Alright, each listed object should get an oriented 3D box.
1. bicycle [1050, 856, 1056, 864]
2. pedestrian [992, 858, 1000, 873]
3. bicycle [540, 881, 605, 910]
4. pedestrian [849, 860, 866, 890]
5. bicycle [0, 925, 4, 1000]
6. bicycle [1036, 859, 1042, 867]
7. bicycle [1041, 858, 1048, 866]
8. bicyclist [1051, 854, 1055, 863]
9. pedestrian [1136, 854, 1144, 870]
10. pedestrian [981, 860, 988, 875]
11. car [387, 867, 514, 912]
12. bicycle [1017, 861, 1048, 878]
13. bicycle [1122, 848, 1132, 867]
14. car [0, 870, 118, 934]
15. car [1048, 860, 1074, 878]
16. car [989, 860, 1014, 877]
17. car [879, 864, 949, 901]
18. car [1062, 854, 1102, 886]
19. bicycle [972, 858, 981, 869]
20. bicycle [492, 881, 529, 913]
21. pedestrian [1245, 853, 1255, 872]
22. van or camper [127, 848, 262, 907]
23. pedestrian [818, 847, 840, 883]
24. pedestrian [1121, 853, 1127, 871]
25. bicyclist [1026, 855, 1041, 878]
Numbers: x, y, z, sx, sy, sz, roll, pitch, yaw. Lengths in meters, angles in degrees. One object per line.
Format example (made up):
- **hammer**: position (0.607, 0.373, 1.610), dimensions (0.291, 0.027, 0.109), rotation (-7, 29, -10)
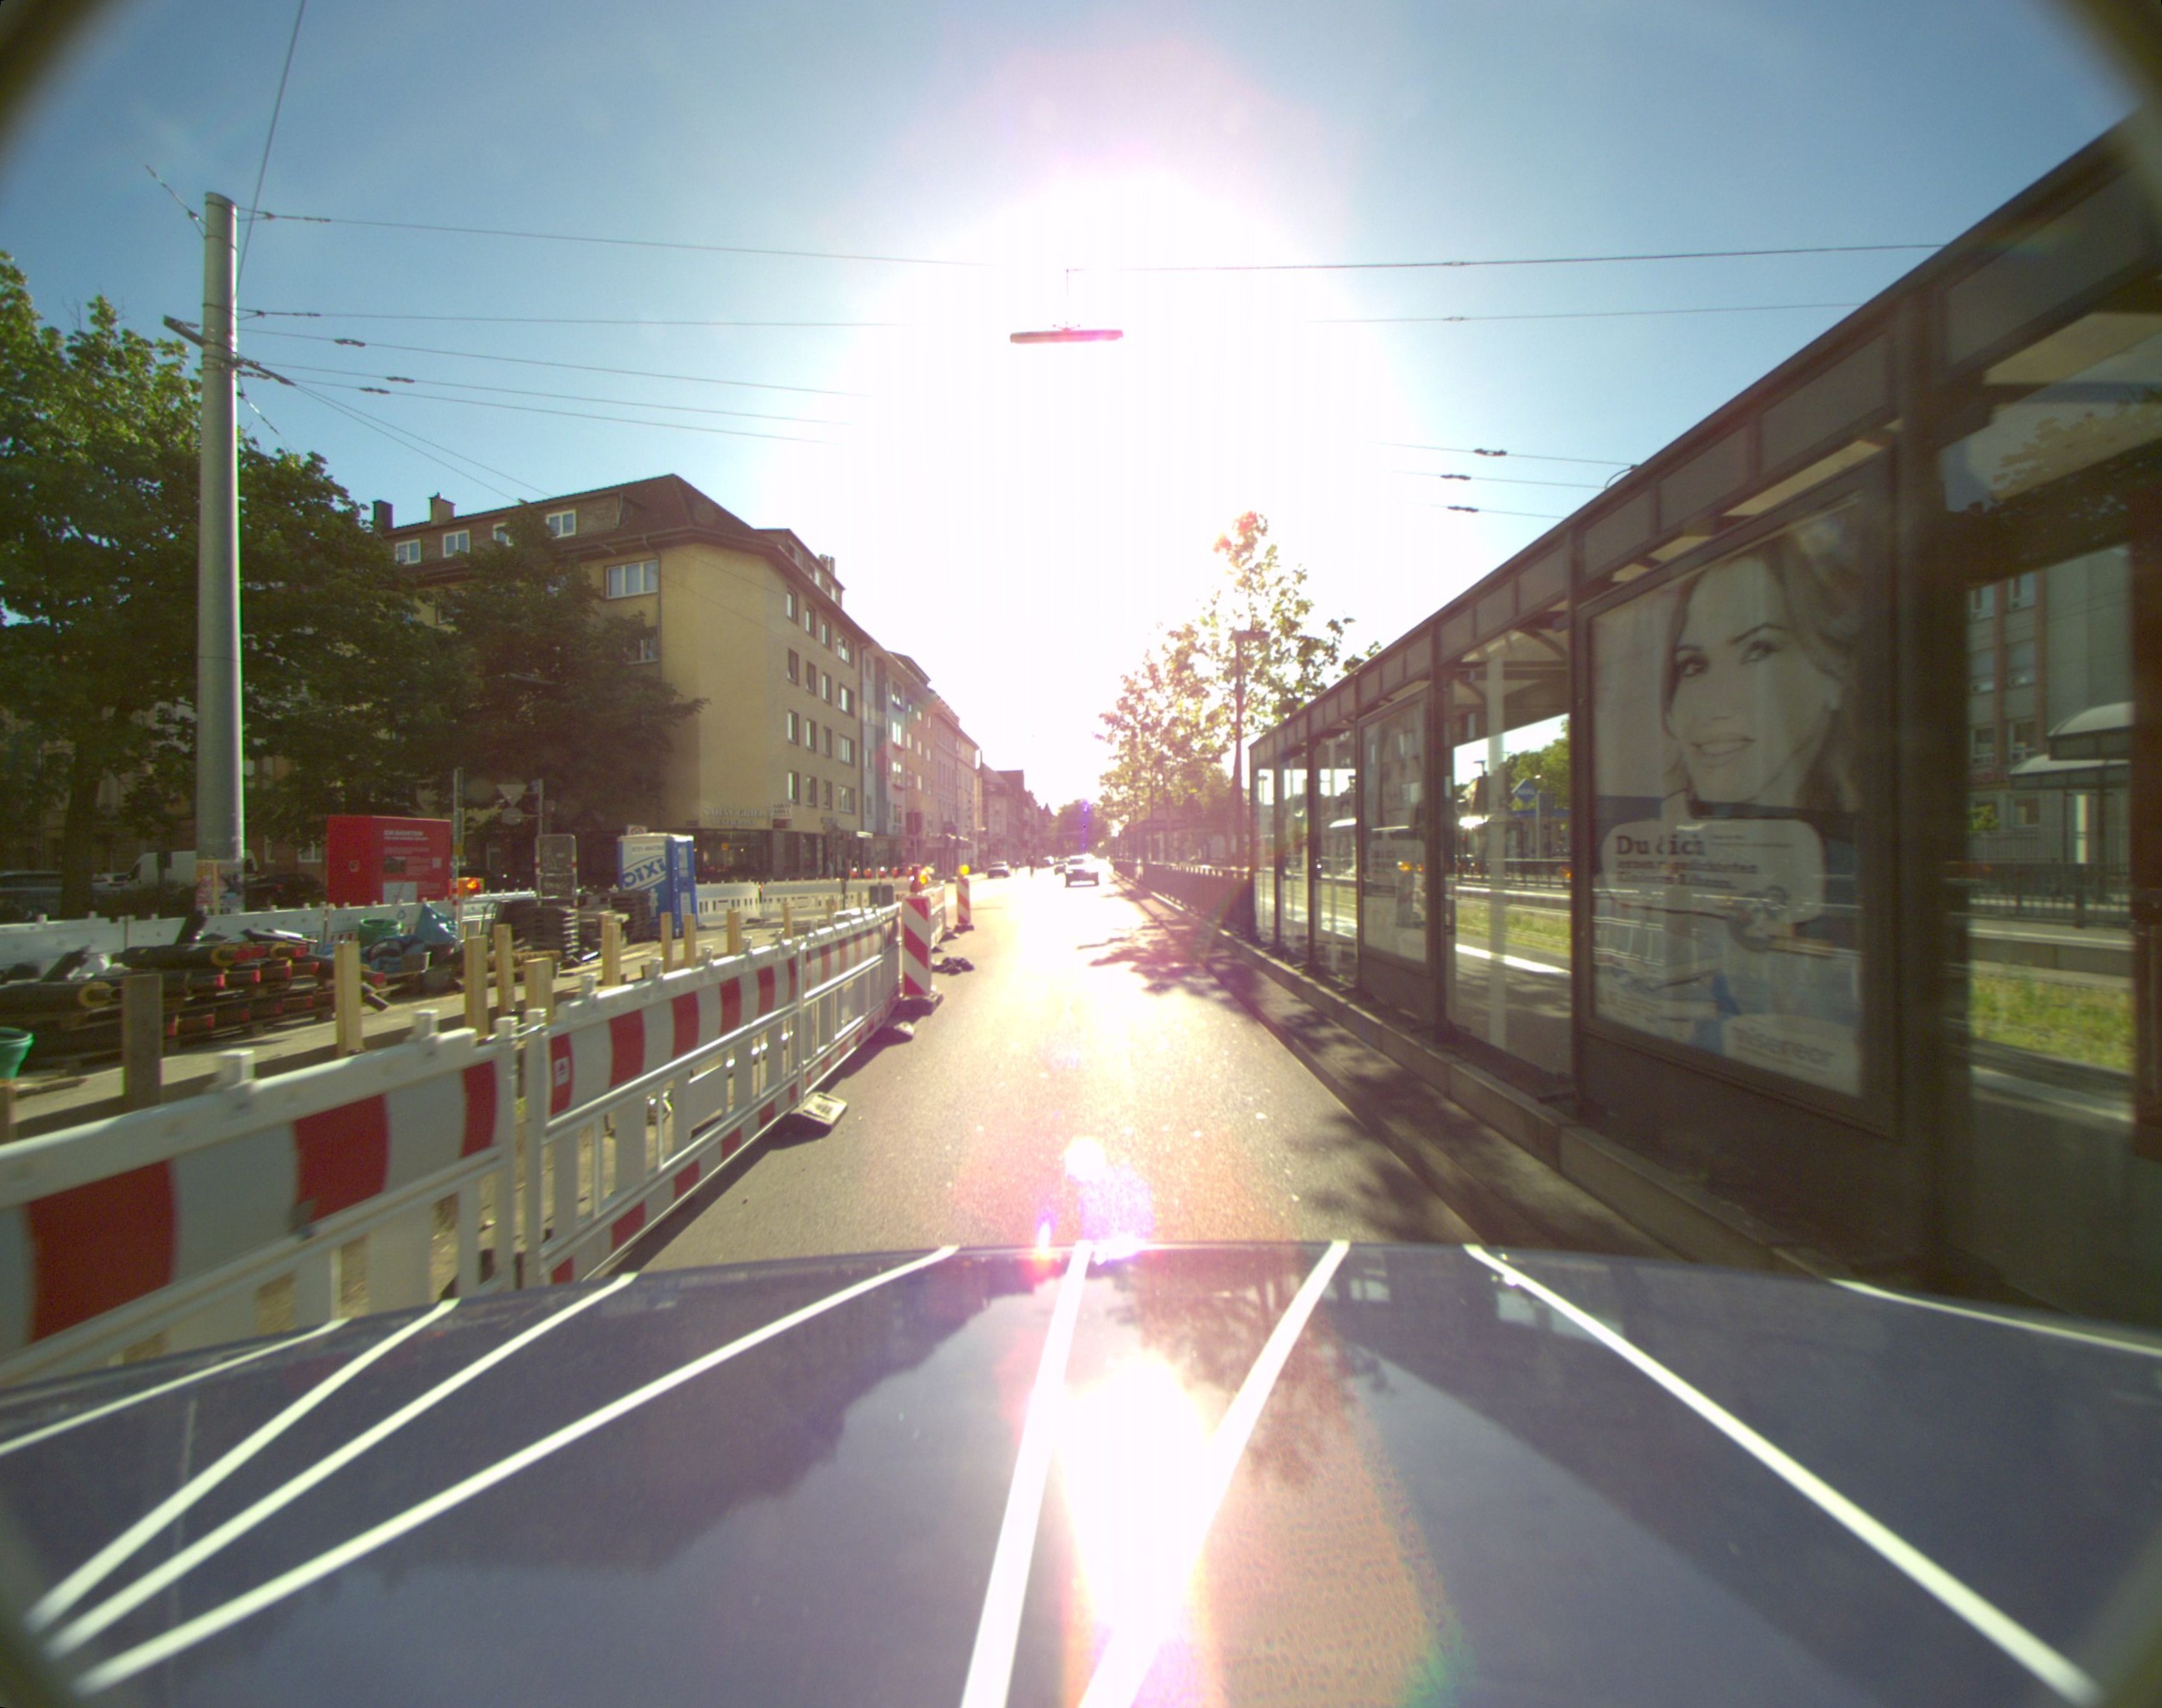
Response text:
- **bicycle**: position (-4.731, 1.003, 128.544), dimensions (0.693, 1.208, 2.299), rotation (-1, 0, 6)
- **pedestrian**: position (-10.061, 1.394, 89.881), dimensions (0.775, 1.680, 0.800), rotation (-2, -2, 0)
- **bicycle**: position (-18.462, 1.494, 27.620), dimensions (0.368, 0.998, 1.947), rotation (-1, 0, 37)
- **pedestrian**: position (-11.539, 1.081, 39.239), dimensions (0.672, 1.498, 0.652), rotation (-1, 1, 1)
- **bicycle**: position (-14.762, 1.393, 9.477), dimensions (2.030, 0.937, 1.019), rotation (-1, 0, 20)
- **bicycle**: position (-7.016, 1.474, 126.525), dimensions (0.693, 1.208, 2.299), rotation (-1, 0, 6)
- **bicycle**: position (-6.055, 1.336, 126.342), dimensions (0.693, 1.208, 2.299), rotation (-1, 0, 6)
- **bicyclist**: position (-4.725, 0.780, 128.440), dimensions (0.696, 1.596, 0.745), rotation (-1, 1, 5)
- **pedestrian**: position (6.312, 0.815, 80.798), dimensions (0.803, 1.680, 1.008), rotation (-1, 1, 4)
- **pedestrian**: position (-11.426, 1.583, 90.140), dimensions (0.663, 1.680, 0.677), rotation (-1, 1, 0)
- **car**: position (-24.485, 1.361, 29.538), dimensions (4.238, 1.632, 2.003), rotation (-1, -1, 22)
- **bicycle**: position (-4.113, 1.305, 64.527), dimensions (2.382, 1.349, 1.021), rotation (-1, 0, -26)
- **bicycle**: position (3.418, 0.274, 56.549), dimensions (0.641, 1.371, 2.170), rotation (-1, 0, 2)
- **car**: position (-27.498, 1.188, 19.583), dimensions (4.368, 1.477, 1.993), rotation (-1, 0, 20)
- **car**: position (-1.911, 1.464, 73.772), dimensions (1.998, 1.594, 4.274), rotation (-1, 0, 4)
- **car**: position (-7.442, 1.314, 71.583), dimensions (1.904, 1.421, 4.716), rotation (-3, 0, -1)
- **car**: position (-7.473, 1.223, 34.497), dimensions (1.876, 1.434, 5.159), rotation (-1, 0, 2)
- **car**: position (0.109, 0.871, 43.238), dimensions (1.979, 1.660, 4.621), rotation (-2, 0, 3)
- **bicycle**: position (-10.856, 1.012, 79.051), dimensions (0.697, 1.102, 1.863), rotation (-1, 0, -14)
- **bicycle**: position (-21.164, 1.579, 28.222), dimensions (0.369, 1.076, 1.824), rotation (-1, 0, -13)
- **pedestrian**: position (14.318, 0.747, 64.250), dimensions (0.686, 1.583, 0.735), rotation (-1, 1, 1)
- **van or camper**: position (-40.360, 1.040, 34.597), dimensions (5.342, 2.533, 2.102), rotation (-1, 0, 18)
- **pedestrian**: position (-12.923, 0.549, 38.935), dimensions (0.730, 1.843, 0.901), rotation (-1, 1, 3)
- **pedestrian**: position (4.458, 0.797, 78.629), dimensions (0.637, 1.817, 0.776), rotation (-1, 1, 4)
- **bicyclist**: position (-4.043, 1.060, 64.557), dimensions (1.005, 1.872, 0.991), rotation (-1, 1, -26)
